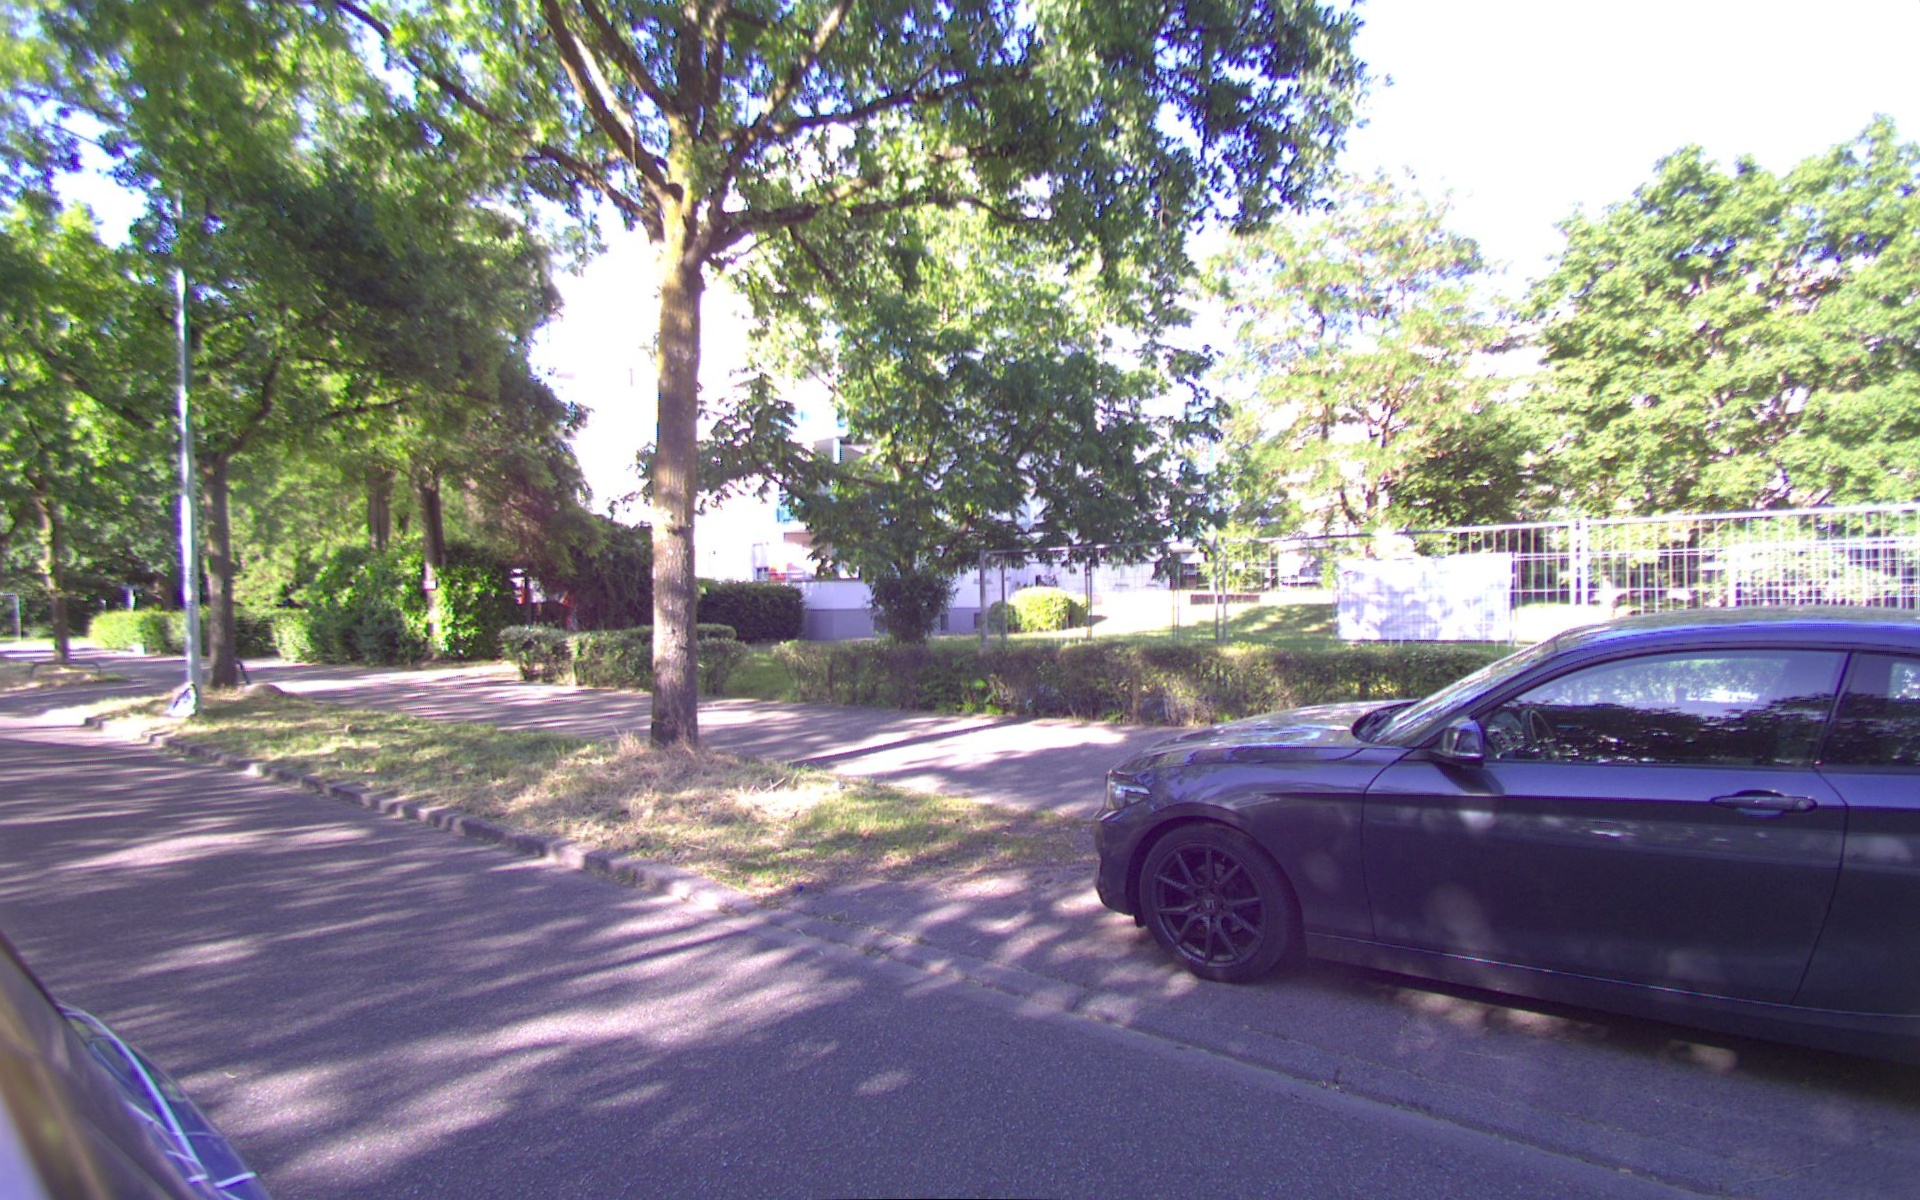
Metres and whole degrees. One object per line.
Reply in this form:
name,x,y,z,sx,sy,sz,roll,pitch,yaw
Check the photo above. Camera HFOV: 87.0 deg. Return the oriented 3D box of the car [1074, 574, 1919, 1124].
car,2.653,0.669,3.701,4.130,1.443,1.700,-2,1,37
